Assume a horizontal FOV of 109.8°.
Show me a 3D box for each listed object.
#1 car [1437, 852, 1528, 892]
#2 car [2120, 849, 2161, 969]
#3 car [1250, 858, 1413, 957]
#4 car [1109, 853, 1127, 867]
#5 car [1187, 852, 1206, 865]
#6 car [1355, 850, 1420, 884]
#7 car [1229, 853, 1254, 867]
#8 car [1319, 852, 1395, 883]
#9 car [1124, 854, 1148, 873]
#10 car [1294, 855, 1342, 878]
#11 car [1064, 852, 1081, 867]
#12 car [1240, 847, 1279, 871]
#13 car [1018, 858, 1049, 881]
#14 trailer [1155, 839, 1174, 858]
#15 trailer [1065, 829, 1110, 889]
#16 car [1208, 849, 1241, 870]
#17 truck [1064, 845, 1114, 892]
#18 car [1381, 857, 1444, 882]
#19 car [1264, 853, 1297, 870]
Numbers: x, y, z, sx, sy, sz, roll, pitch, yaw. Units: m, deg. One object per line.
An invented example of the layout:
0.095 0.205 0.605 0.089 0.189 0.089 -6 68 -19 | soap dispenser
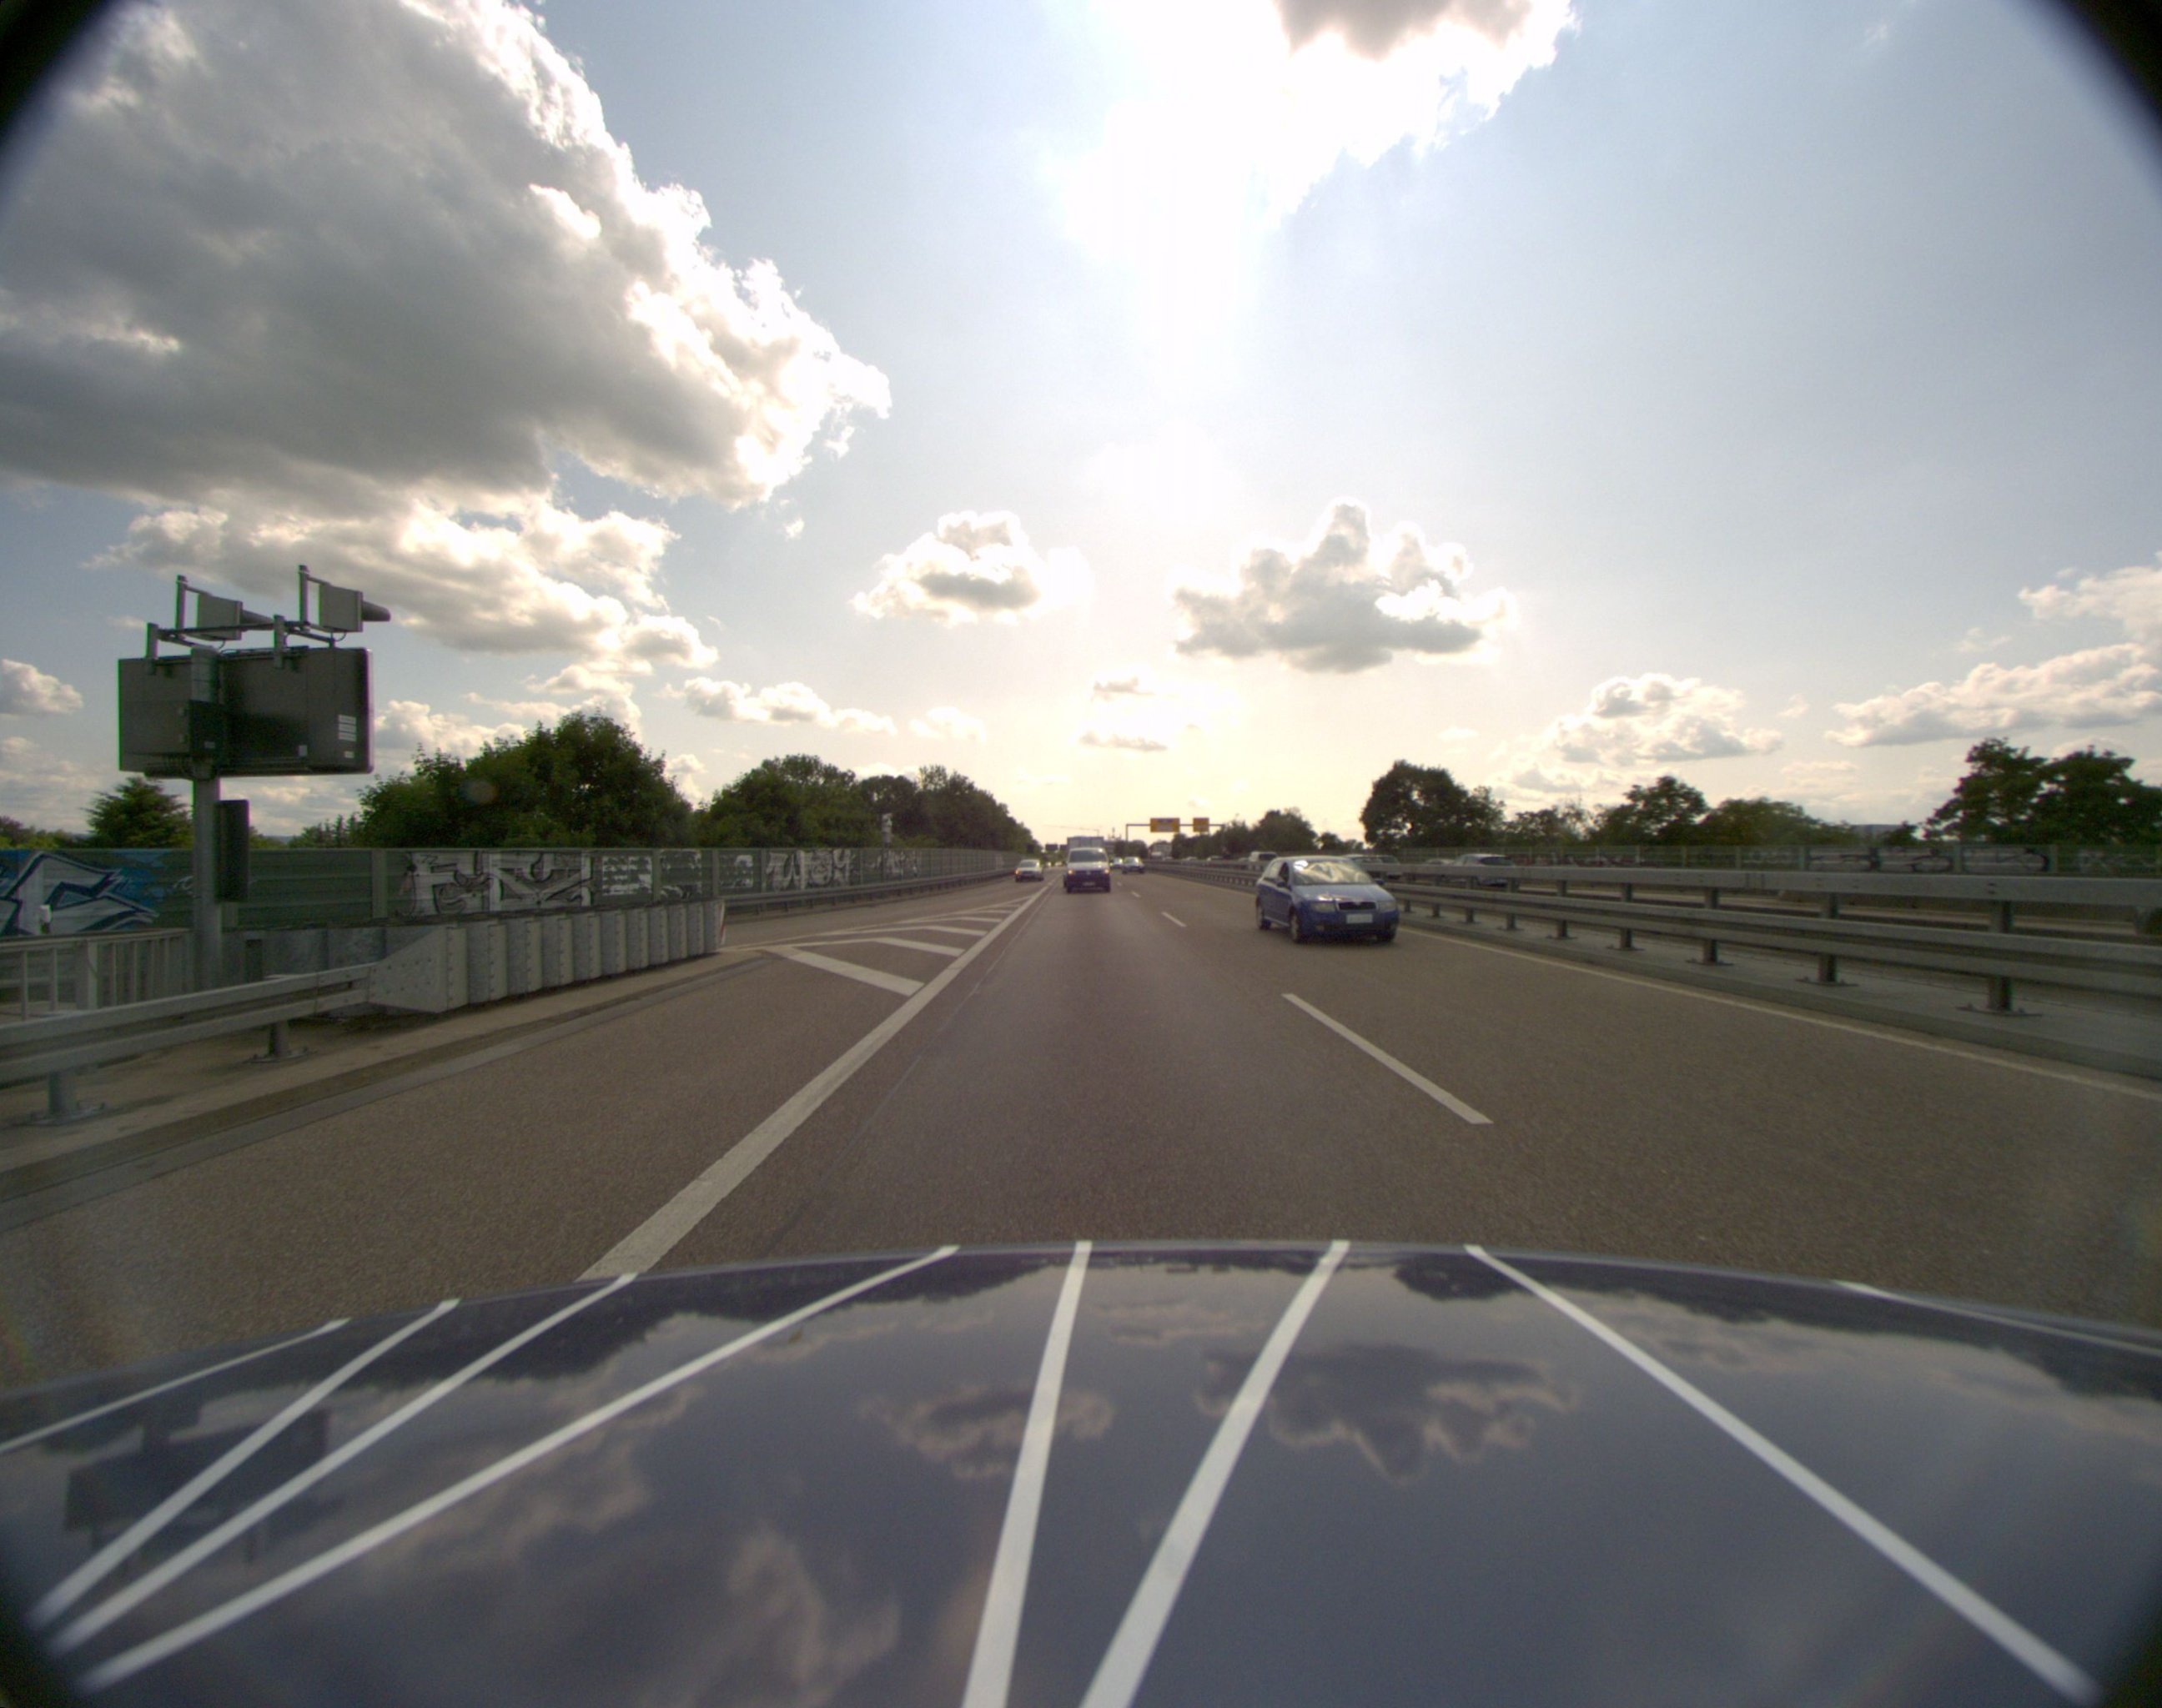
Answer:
16.082 0.668 30.643 1.602 1.466 3.630 1 0 -2 | car
15.845 0.747 8.909 1.826 1.629 3.999 -2 0 0 | car
4.245 0.834 13.505 1.625 1.403 3.771 -2 0 0 | car
4.433 0.712 90.846 1.895 1.518 4.464 -2 0 0 | car
16.056 0.612 105.904 1.929 1.565 3.886 -2 0 -1 | car
16.561 0.690 41.288 1.586 1.701 4.410 -2 -1 -2 | car
18.942 0.666 89.589 1.929 1.565 4.282 -1 0 -2 | car
11.518 0.530 32.008 1.685 1.178 3.999 -2 0 0 | car
4.775 0.778 66.482 1.779 1.518 4.464 -2 0 0 | car
15.845 0.847 50.994 1.789 1.381 4.047 -2 -1 -2 | car
-0.977 0.639 86.648 1.802 1.587 3.984 -2 0 1 | car
15.494 0.469 66.261 1.965 1.914 5.191 -3 0 -3 | car
-3.220 1.037 52.096 1.768 1.403 3.771 -2 0 0 | car
16.883 -1.057 154.181 2.691 3.648 11.027 -2 0 0 | trailer
0.267 0.202 38.392 1.999 2.723 5.966 -2 0 -1 | trailer
11.282 0.404 60.124 1.679 1.562 4.060 -2 0 -2 | car
0.312 0.619 33.381 2.008 1.905 4.000 -1 0 0 | truck
19.796 0.897 45.530 1.648 1.378 3.997 -2 0 -7 | car
18.788 0.663 71.709 1.929 1.565 4.282 -1 0 -2 | car
